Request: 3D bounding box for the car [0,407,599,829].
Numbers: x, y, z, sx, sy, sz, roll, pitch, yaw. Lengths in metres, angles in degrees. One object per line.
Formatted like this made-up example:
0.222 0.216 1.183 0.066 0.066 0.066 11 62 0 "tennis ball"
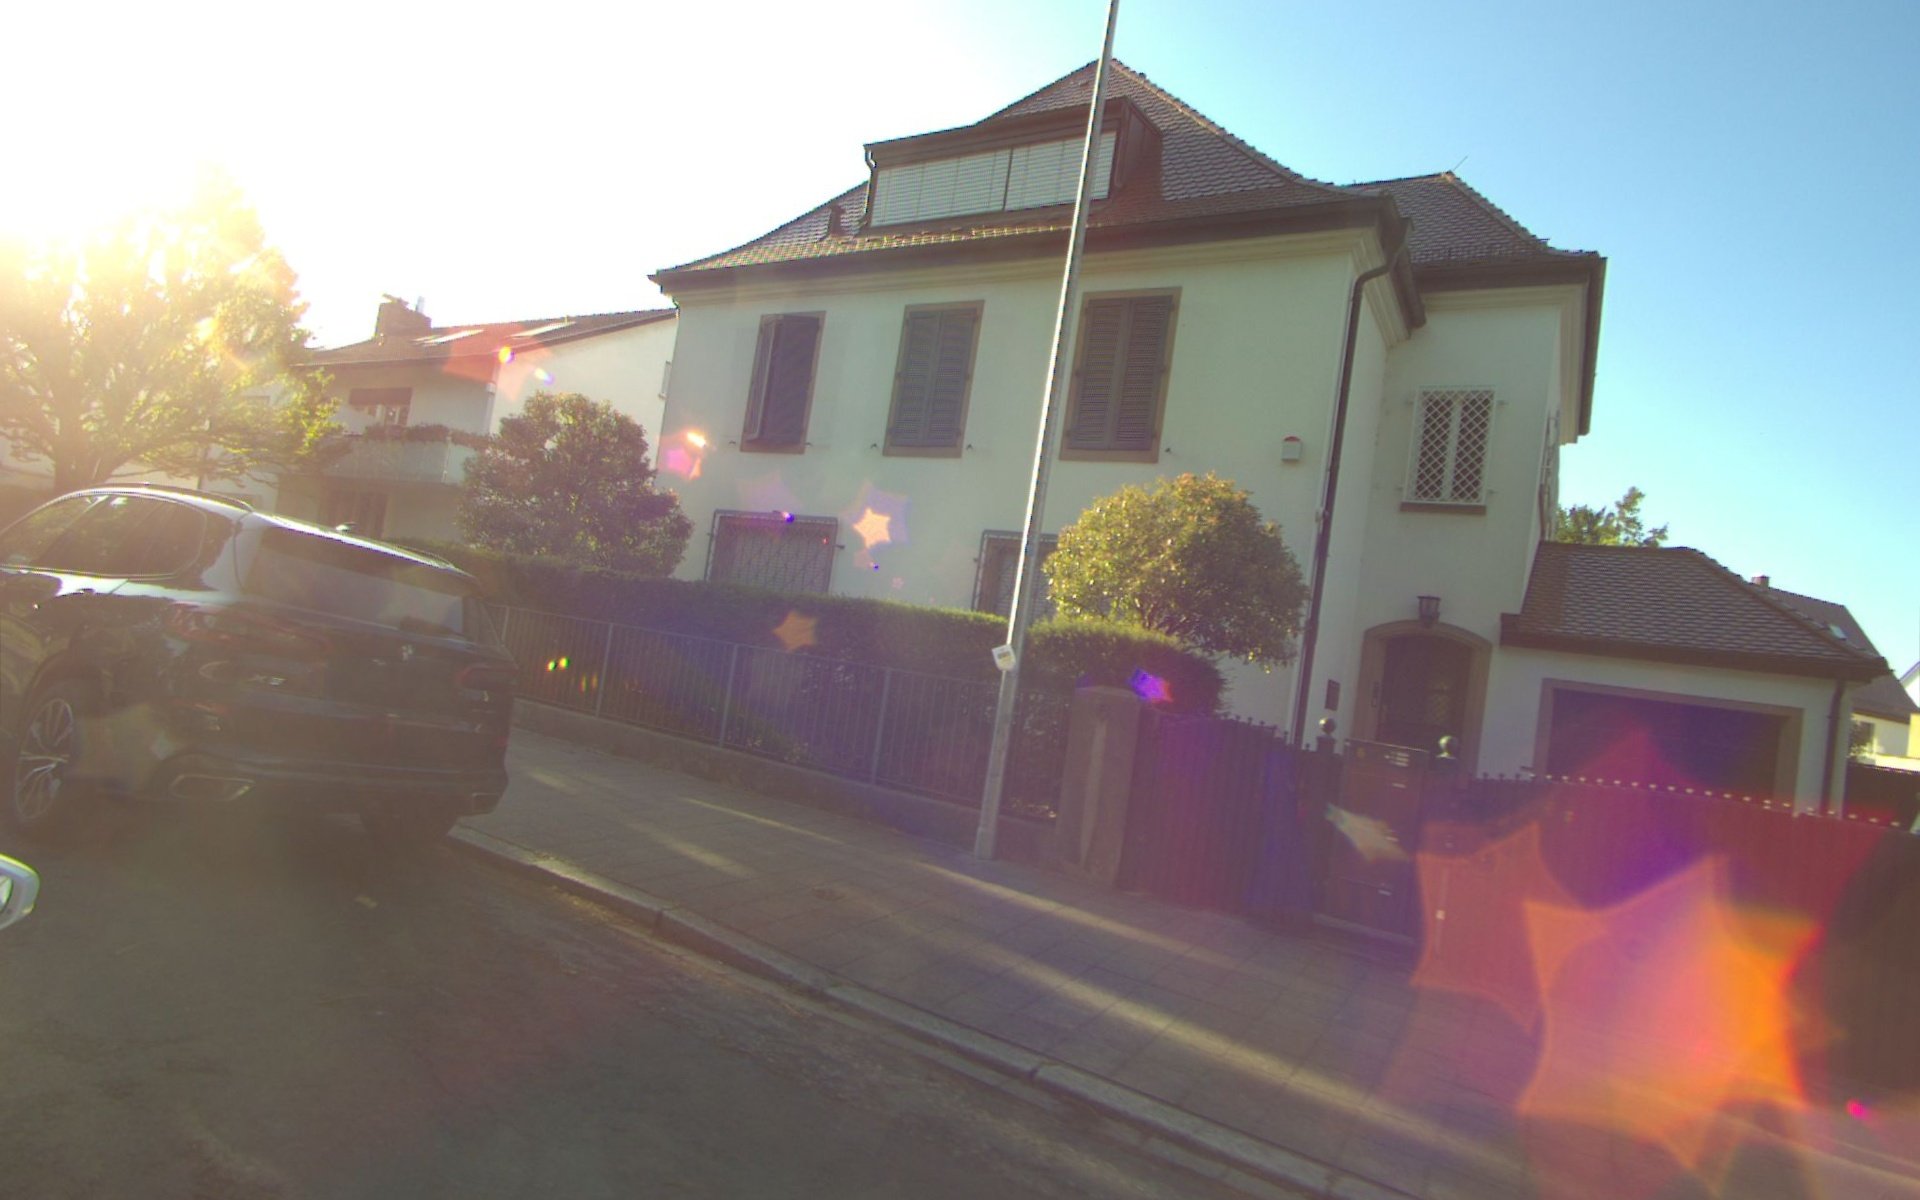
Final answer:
-4.784 -0.003 6.219 4.782 1.755 2.001 6 -5 30 "car"
